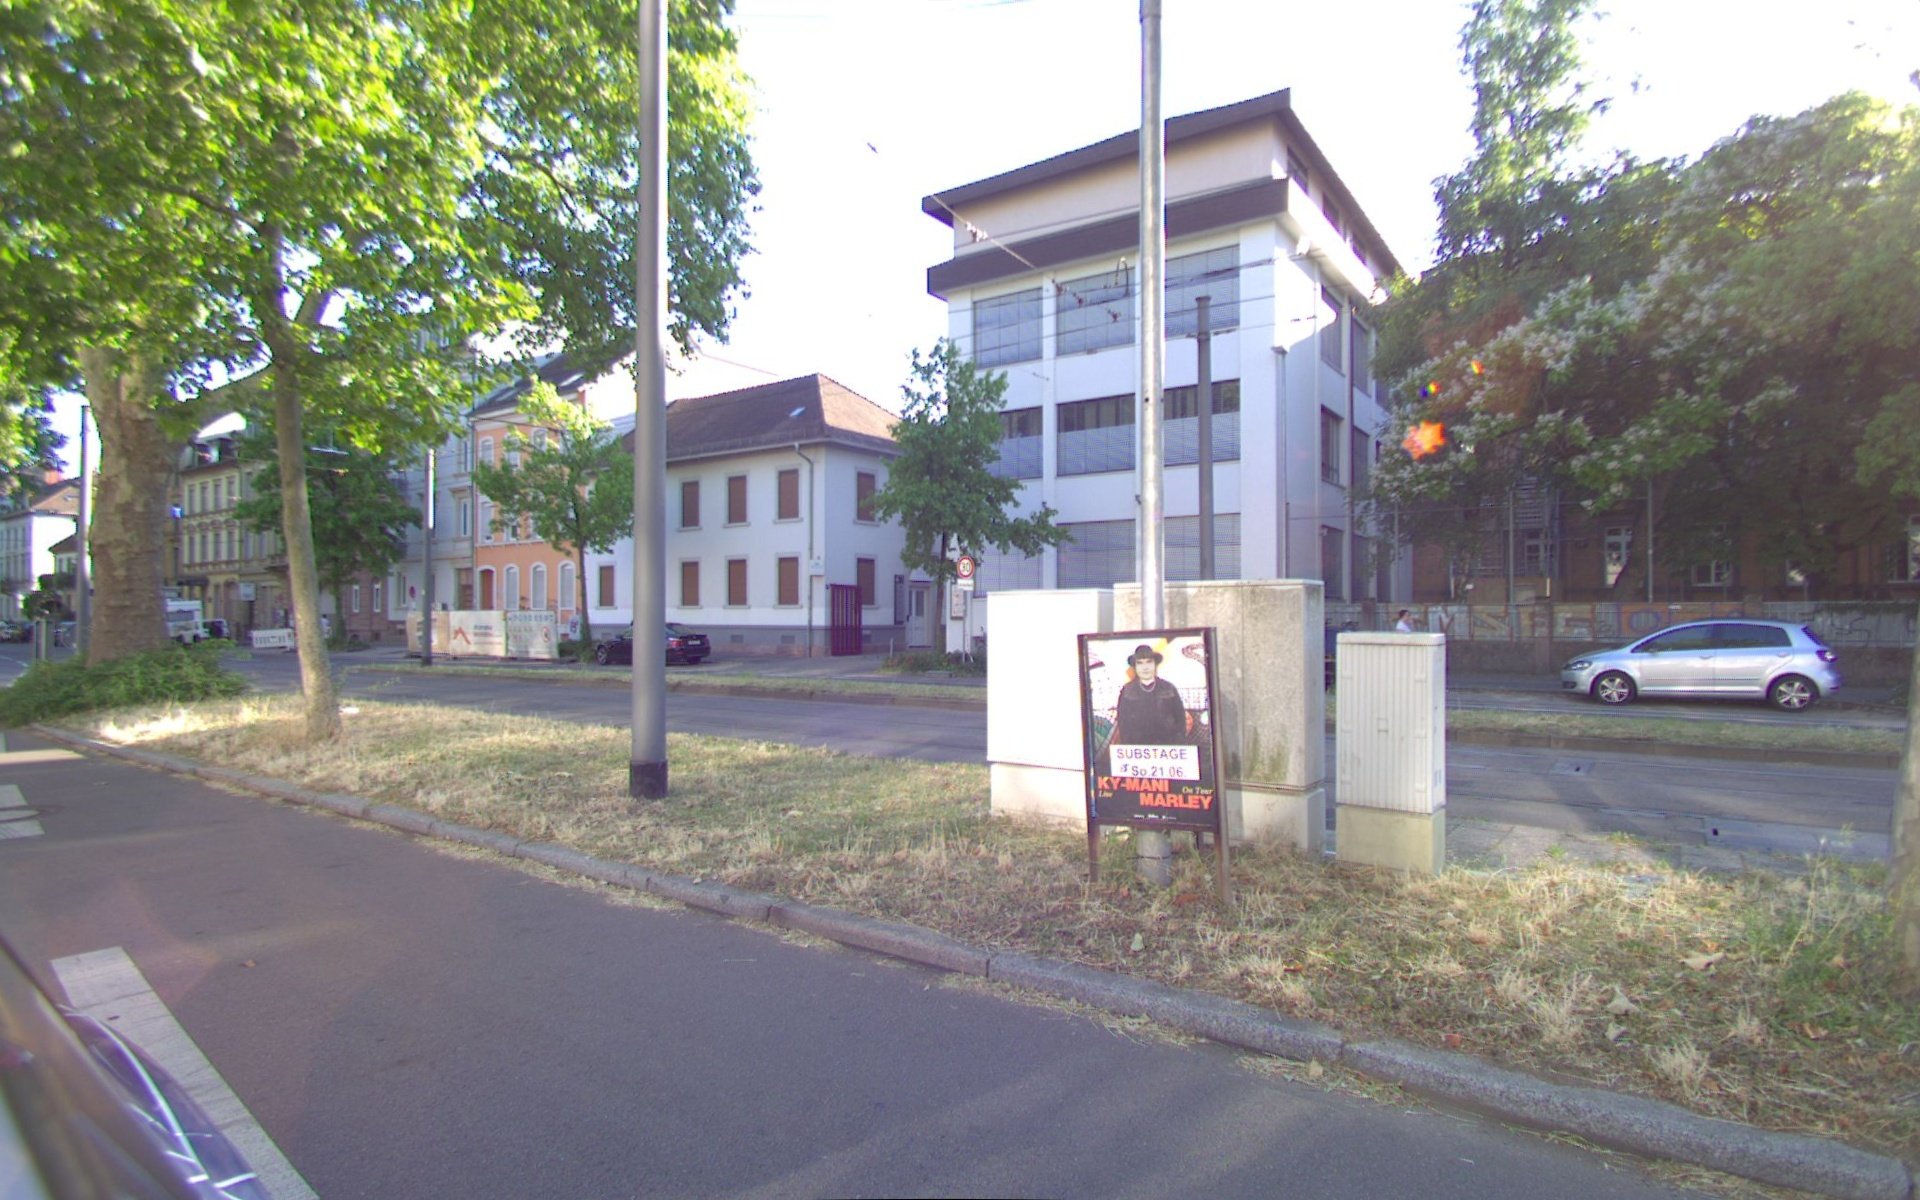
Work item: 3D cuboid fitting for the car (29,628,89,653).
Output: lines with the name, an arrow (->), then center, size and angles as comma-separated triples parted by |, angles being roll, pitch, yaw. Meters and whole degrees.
car -> -63.461, 2.825, 71.284 | 4.503, 1.551, 2.065 | -1, 1, 33

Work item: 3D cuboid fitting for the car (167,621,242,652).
car -> -44.097, 2.111, 59.055 | 4.520, 1.686, 2.065 | -1, 1, 33

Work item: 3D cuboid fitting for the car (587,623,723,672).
car -> -10.578, 1.608, 35.040 | 4.566, 1.481, 2.065 | -1, 1, 33

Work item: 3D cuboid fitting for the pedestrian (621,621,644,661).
pedestrian -> -12.794, 1.595, 39.534 | 0.708, 1.540, 0.532 | -1, -2, 29

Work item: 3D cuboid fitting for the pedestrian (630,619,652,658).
pedestrian -> -12.811, 1.527, 40.673 | 0.710, 1.540, 0.531 | -1, -2, 35

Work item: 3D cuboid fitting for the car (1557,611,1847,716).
car -> 13.389, 1.082, 18.601 | 4.086, 1.631, 2.065 | -1, 1, 33

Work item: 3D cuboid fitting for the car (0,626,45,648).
car -> -73.872, 2.857, 79.210 | 5.090, 1.551, 2.065 | -1, 1, 33

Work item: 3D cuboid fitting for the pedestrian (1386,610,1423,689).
pedestrian -> 9.836, 1.083, 22.396 | 0.630, 1.677, 0.563 | -1, 1, 34

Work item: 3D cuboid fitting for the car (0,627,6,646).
car -> -81.332, 3.085, 84.122 | 4.027, 1.551, 2.065 | -1, 1, 33

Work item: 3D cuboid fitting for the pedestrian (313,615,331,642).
pedestrian -> -36.434, 1.618, 57.821 | 0.611, 1.540, 0.636 | -1, -2, 23

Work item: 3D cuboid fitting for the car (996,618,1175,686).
car -> 3.156, 1.263, 25.557 | 3.985, 1.501, 2.065 | -1, 1, 33
